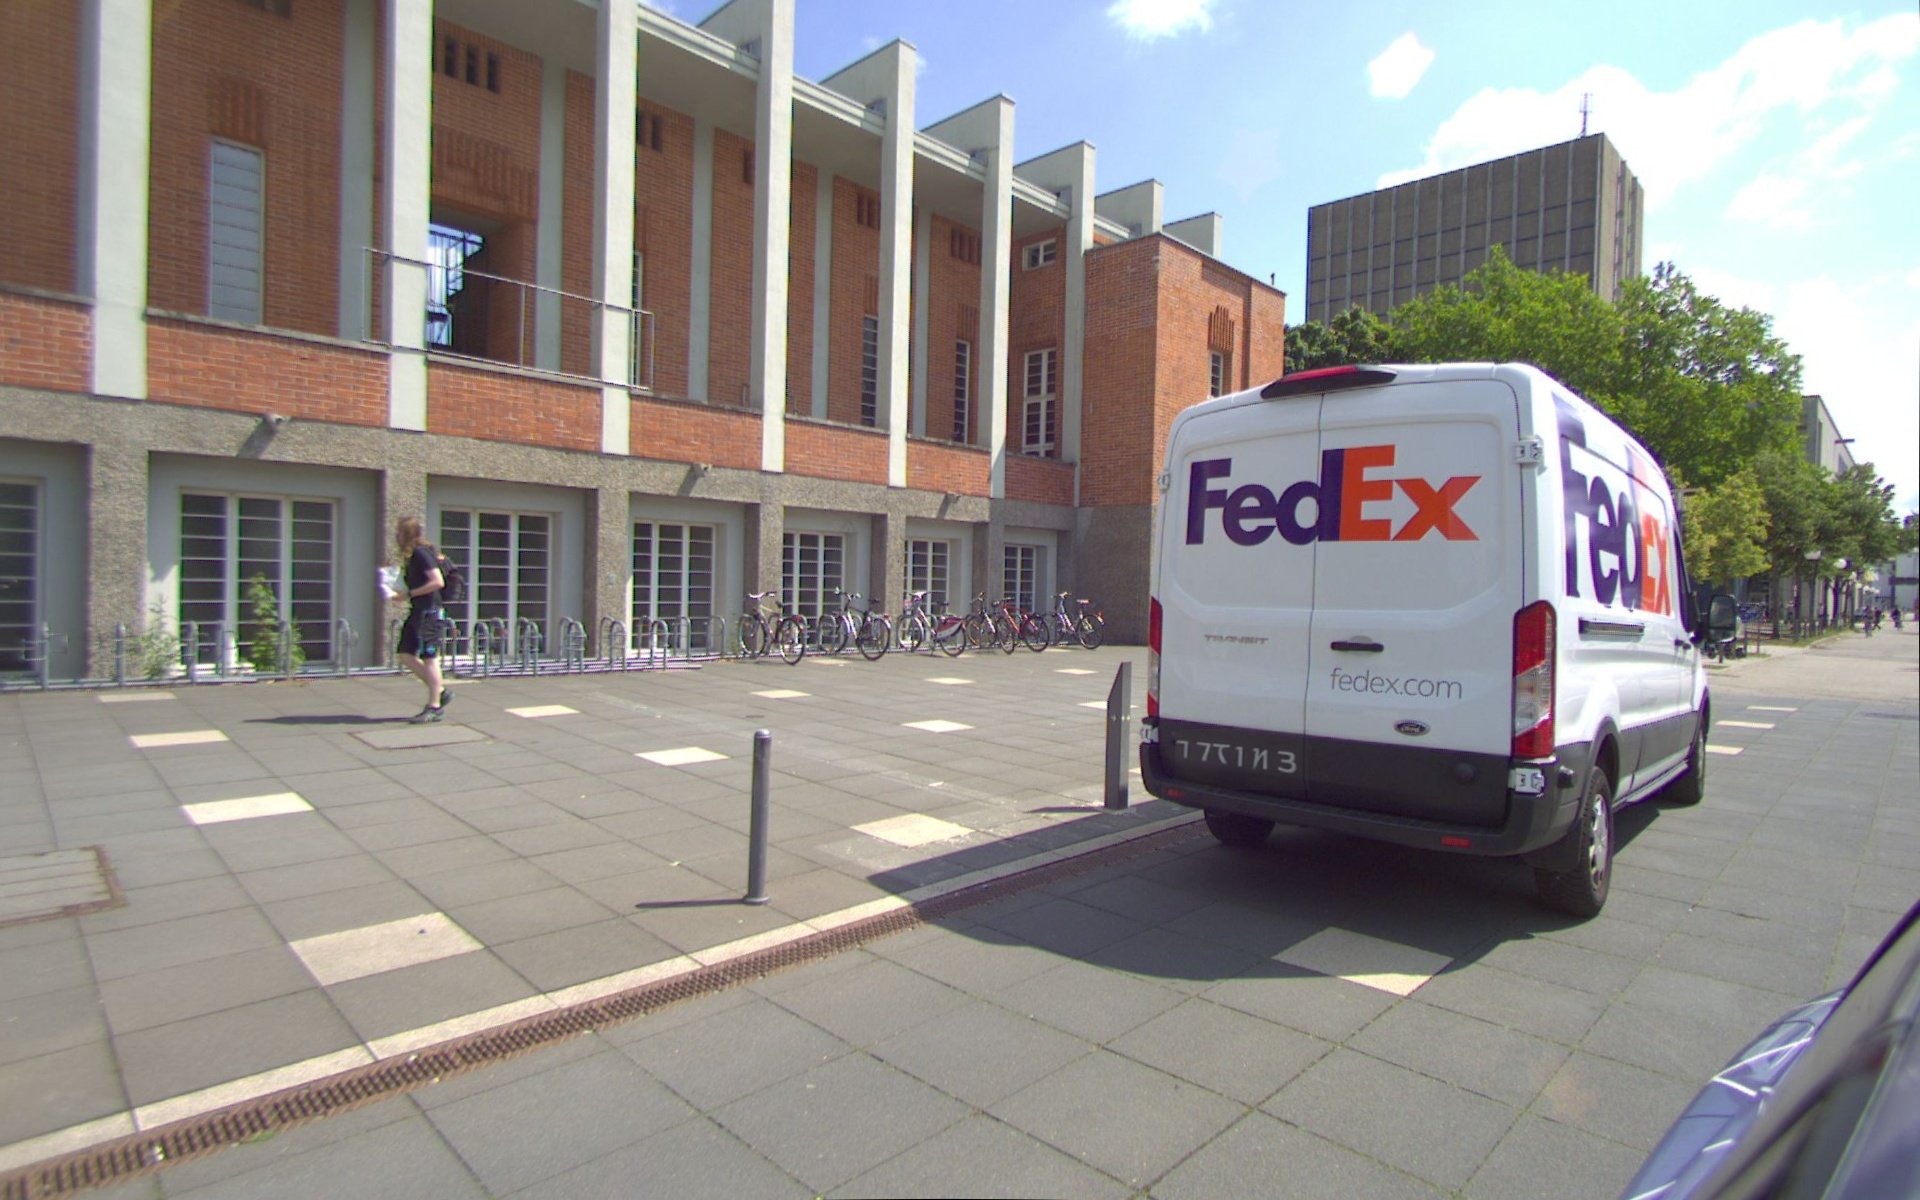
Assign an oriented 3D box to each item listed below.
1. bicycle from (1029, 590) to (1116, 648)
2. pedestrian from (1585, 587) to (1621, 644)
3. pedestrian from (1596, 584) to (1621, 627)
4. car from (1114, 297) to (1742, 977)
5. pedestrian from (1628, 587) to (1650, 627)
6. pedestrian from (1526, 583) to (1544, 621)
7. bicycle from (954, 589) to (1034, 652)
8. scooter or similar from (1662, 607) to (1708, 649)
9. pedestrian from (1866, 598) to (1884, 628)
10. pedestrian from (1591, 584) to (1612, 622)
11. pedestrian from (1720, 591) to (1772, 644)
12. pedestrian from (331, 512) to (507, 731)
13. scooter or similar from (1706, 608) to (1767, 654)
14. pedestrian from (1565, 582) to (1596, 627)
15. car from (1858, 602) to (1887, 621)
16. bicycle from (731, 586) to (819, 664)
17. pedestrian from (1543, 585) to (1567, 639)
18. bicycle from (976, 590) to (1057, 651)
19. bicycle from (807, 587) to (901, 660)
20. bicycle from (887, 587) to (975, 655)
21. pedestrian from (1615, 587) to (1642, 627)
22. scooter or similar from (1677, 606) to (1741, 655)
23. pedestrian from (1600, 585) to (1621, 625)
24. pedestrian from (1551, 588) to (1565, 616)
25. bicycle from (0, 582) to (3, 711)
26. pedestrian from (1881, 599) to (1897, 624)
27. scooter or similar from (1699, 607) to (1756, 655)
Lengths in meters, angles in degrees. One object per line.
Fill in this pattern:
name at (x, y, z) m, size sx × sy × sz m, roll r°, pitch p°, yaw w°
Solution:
bicycle at (2.337, 0.373, 21.222) m, size 1.930 × 1.124 × 0.449 m, roll 3°, pitch 1°, yaw 44°
pedestrian at (20.155, 0.467, 31.698) m, size 0.781 × 1.696 × 1.064 m, roll 3°, pitch 2°, yaw 39°
pedestrian at (28.347, 0.229, 44.234) m, size 0.773 × 1.813 × 0.709 m, roll 2°, pitch 1°, yaw 24°
car at (3.521, 0.113, 6.665) m, size 2.059 × 2.575 × 5.759 m, roll 2°, pitch 1°, yaw 42°
pedestrian at (30.678, 0.304, 45.719) m, size 0.615 × 1.761 × 0.769 m, roll 2°, pitch 1°, yaw 22°
pedestrian at (27.977, 0.082, 49.239) m, size 0.534 × 1.816 × 0.641 m, roll 2°, pitch 1°, yaw 17°
bicycle at (0.633, 0.367, 19.443) m, size 1.651 × 1.124 × 0.429 m, roll 3°, pitch 1°, yaw 44°
scooter or similar at (21.663, 0.844, 30.232) m, size 1.448 × 1.194 × 0.577 m, roll 2°, pitch 1°, yaw -32°
pedestrian at (46.361, 0.668, 51.295) m, size 0.628 × 1.460 × 0.584 m, roll 1°, pitch 1°, yaw -44°
pedestrian at (32.186, 0.145, 50.748) m, size 0.626 × 1.893 × 0.538 m, roll 2°, pitch 1°, yaw -7°
pedestrian at (27.822, 0.599, 35.851) m, size 0.967 × 1.809 × 1.092 m, roll 2°, pitch 1°, yaw 10°
pedestrian at (-4.957, 0.171, 9.295) m, size 0.843 × 1.857 × 1.180 m, roll 2°, pitch 1°, yaw 40°
scooter or similar at (22.107, 0.870, 28.827) m, size 0.564 × 1.248 × 1.267 m, roll 2°, pitch 1°, yaw -11°
pedestrian at (27.576, 0.195, 44.997) m, size 0.972 × 1.970 × 0.971 m, roll 2°, pitch 1°, yaw 23°
car at (86.507, 1.093, 95.960) m, size 1.993 × 1.678 × 3.938 m, roll 2°, pitch 1°, yaw 43°
bicycle at (-2.921, 0.373, 15.880) m, size 1.683 × 1.124 × 0.429 m, roll 3°, pitch 1°, yaw 44°
pedestrian at (20.302, 0.415, 34.515) m, size 0.664 × 1.788 × 0.788 m, roll 1°, pitch -1°, yaw 33°
bicycle at (1.102, 0.382, 19.943) m, size 1.694 × 1.124 × 0.429 m, roll 3°, pitch 1°, yaw 44°
bicycle at (-1.810, 0.365, 17.101) m, size 1.911 × 1.124 × 0.429 m, roll 3°, pitch 1°, yaw 44°
bicycle at (-0.548, 0.356, 18.361) m, size 1.797 × 1.124 × 0.429 m, roll 3°, pitch 1°, yaw 44°
pedestrian at (29.214, 0.286, 44.230) m, size 0.742 × 1.694 × 0.840 m, roll 2°, pitch 1°, yaw 22°
scooter or similar at (20.737, 0.827, 28.059) m, size 0.564 × 1.245 × 1.359 m, roll 2°, pitch 1°, yaw -11°
pedestrian at (29.636, 0.239, 46.106) m, size 0.595 × 1.774 × 0.759 m, roll 2°, pitch 1°, yaw 21°
pedestrian at (33.977, 0.102, 57.494) m, size 0.634 × 1.577 × 0.569 m, roll 2°, pitch 1°, yaw 30°
bicycle at (-9.168, 0.381, 9.314) m, size 1.683 × 1.124 × 0.429 m, roll 3°, pitch 1°, yaw 44°
pedestrian at (66.514, 0.817, 72.488) m, size 0.574 × 1.702 × 0.538 m, roll 2°, pitch 1°, yaw -7°
scooter or similar at (21.470, 0.862, 28.342) m, size 0.564 × 1.259 × 1.146 m, roll 2°, pitch 1°, yaw -11°
